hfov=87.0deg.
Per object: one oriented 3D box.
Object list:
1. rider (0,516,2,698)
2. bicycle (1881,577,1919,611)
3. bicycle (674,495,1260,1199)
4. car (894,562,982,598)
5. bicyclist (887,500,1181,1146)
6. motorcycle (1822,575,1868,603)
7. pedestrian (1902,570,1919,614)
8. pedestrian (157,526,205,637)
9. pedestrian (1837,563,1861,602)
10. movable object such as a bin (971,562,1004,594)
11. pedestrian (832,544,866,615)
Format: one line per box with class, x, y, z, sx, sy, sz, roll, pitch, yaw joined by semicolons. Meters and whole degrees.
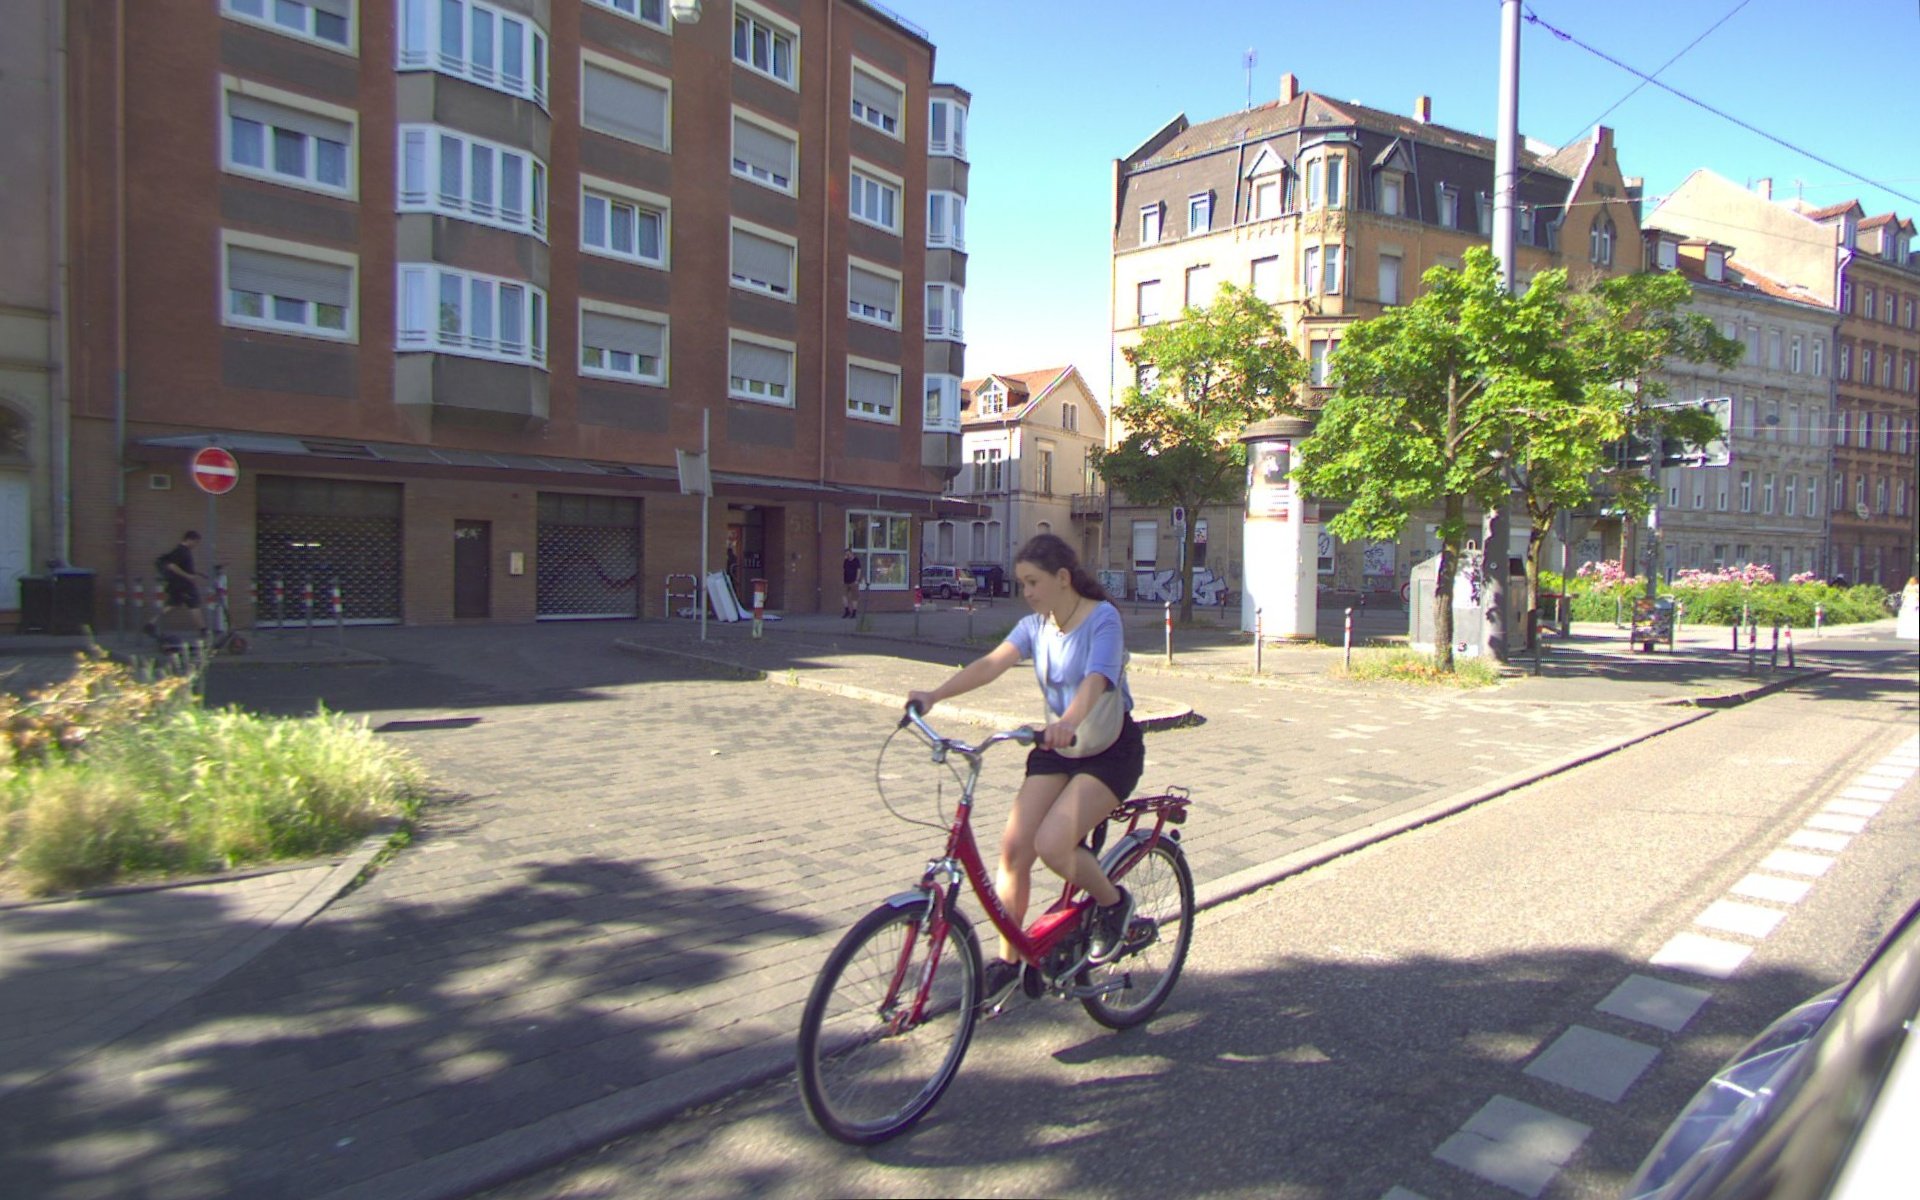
rider;-10.351;0.069;9.993;0.953;1.843;1.032;2;2;25
bicycle;44.032;-0.318;46.148;6.704;1.433;1.969;-1;3;-39
bicycle;0.160;0.598;2.911;1.906;1.659;0.438;-1;1;-43
car;-1.036;-0.936;46.799;3.981;1.563;1.612;2;2;40
bicyclist;0.230;0.563;3.007;0.766;1.659;0.438;0;2;-42
motorcycle;43.317;-0.556;49.571;1.623;1.332;0.707;2;2;38
pedestrian;37.804;-0.318;40.133;0.548;1.697;0.679;2;2;38
pedestrian;-12.794;-0.310;16.628;0.604;1.780;0.571;0;2;-40
pedestrian;43.444;-0.843;49.467;0.817;1.885;0.694;2;2;38
movable object such as a bin;1.308;-1.051;48.308;1.214;1.462;1.019;2;2;43
pedestrian;-2.844;-0.535;25.913;0.631;1.782;0.592;-1;2;-42
